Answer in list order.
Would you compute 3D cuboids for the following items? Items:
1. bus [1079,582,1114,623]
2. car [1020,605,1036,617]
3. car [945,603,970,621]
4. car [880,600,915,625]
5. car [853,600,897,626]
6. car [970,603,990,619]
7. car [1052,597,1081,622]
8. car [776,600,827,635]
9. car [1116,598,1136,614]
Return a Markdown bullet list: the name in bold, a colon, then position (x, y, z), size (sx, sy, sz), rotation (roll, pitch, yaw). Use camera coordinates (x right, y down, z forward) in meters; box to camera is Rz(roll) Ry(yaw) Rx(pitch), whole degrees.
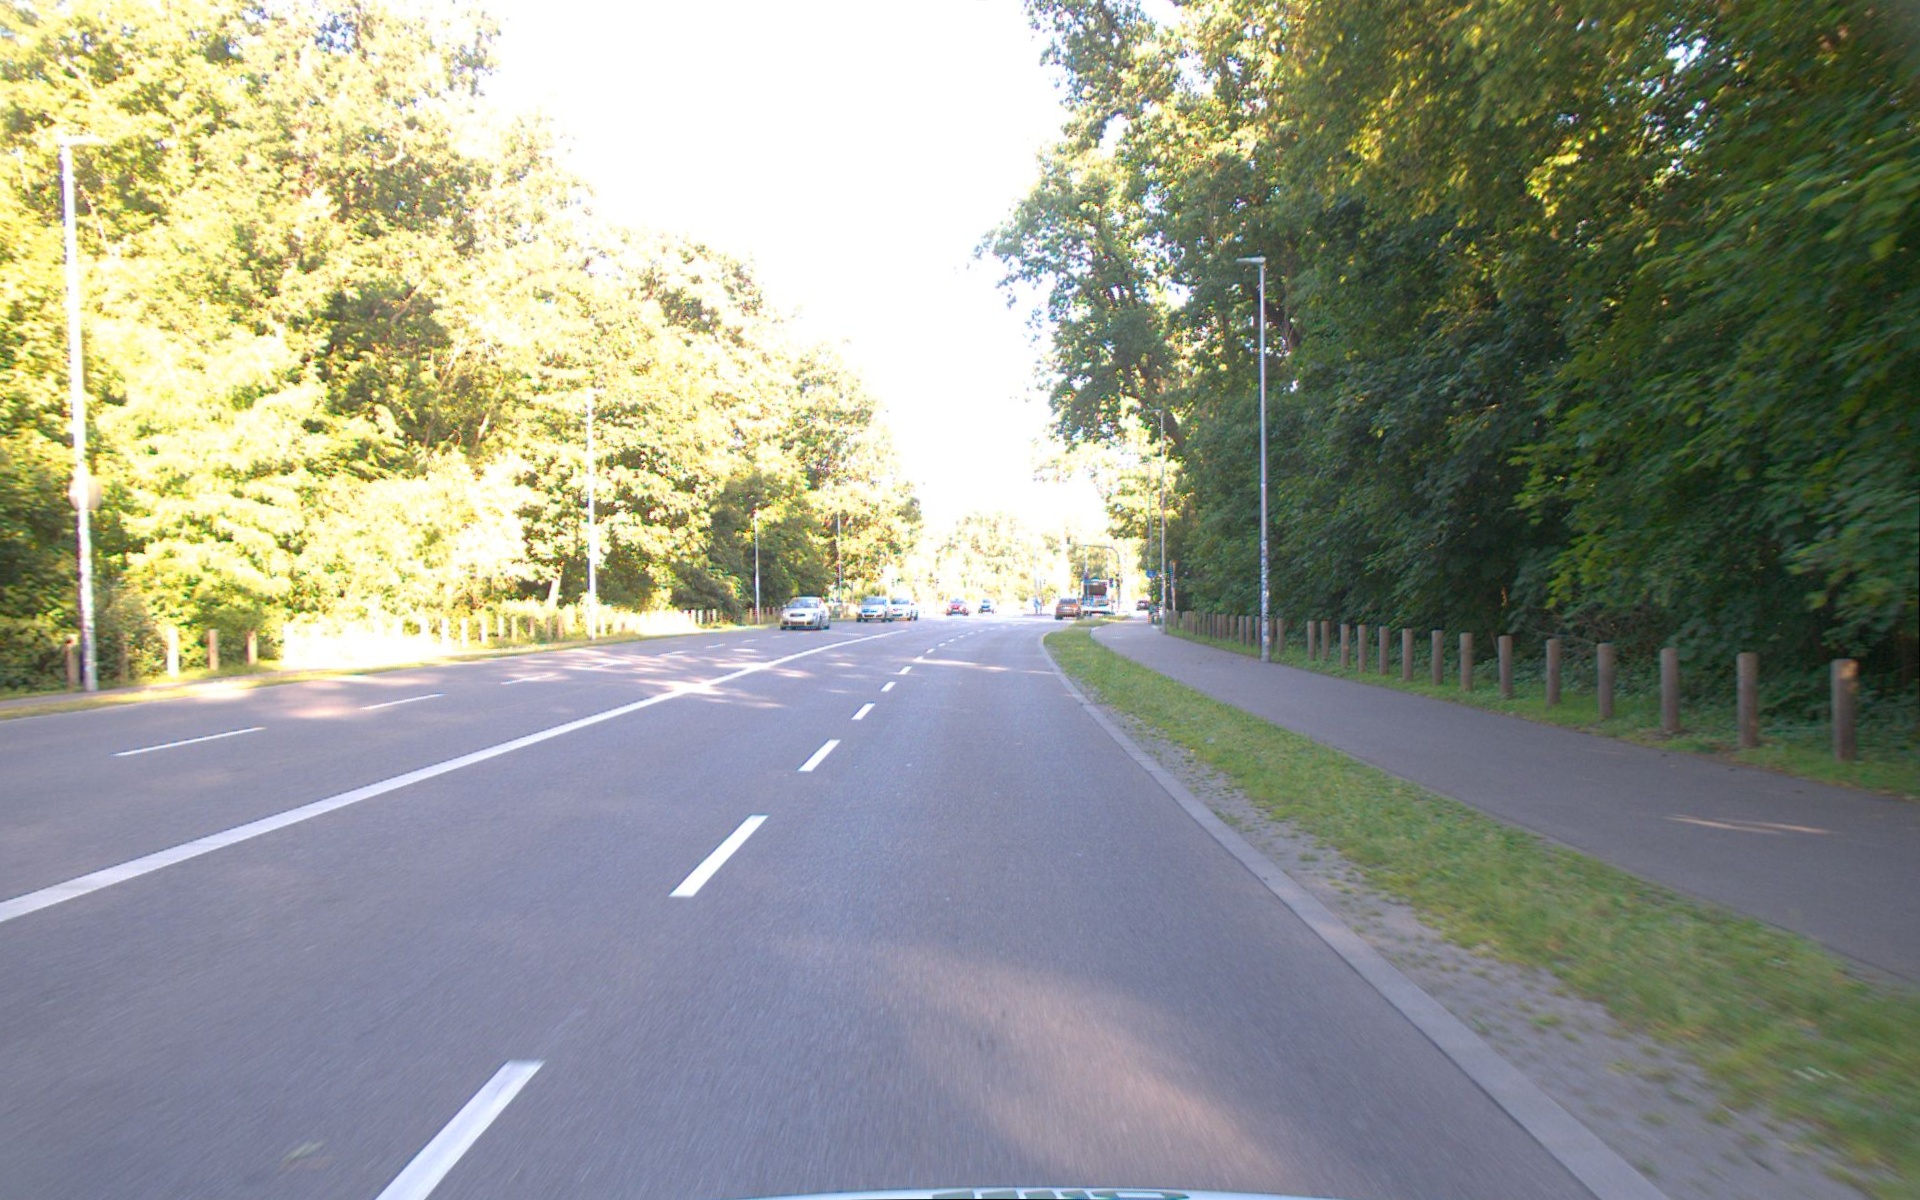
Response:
- **bus**: position (11.960, 0.230, 144.589), size (2.549, 3.427, 7.982), rotation (1, 0, 8)
- **car**: position (8.459, 1.348, 206.520), size (1.674, 1.489, 4.103), rotation (1, 0, 7)
- **car**: position (-0.191, 1.023, 141.196), size (1.627, 1.544, 3.810), rotation (0, 0, 8)
- **car**: position (-3.954, 0.787, 105.697), size (1.745, 1.549, 4.400), rotation (0, 0, 5)
- **car**: position (-4.911, 0.757, 95.864), size (1.742, 1.490, 4.277), rotation (0, -1, 8)
- **car**: position (2.006, 1.083, 164.927), size (1.620, 1.534, 4.003), rotation (0, 0, 6)
- **car**: position (7.836, 0.697, 121.245), size (1.840, 1.796, 4.003), rotation (0, 0, 8)
- **car**: position (-6.800, 0.733, 71.429), size (1.742, 1.433, 4.166), rotation (0, 1, 1)
- **car**: position (18.845, 0.694, 187.630), size (1.823, 1.713, 3.776), rotation (-1, 0, 12)
